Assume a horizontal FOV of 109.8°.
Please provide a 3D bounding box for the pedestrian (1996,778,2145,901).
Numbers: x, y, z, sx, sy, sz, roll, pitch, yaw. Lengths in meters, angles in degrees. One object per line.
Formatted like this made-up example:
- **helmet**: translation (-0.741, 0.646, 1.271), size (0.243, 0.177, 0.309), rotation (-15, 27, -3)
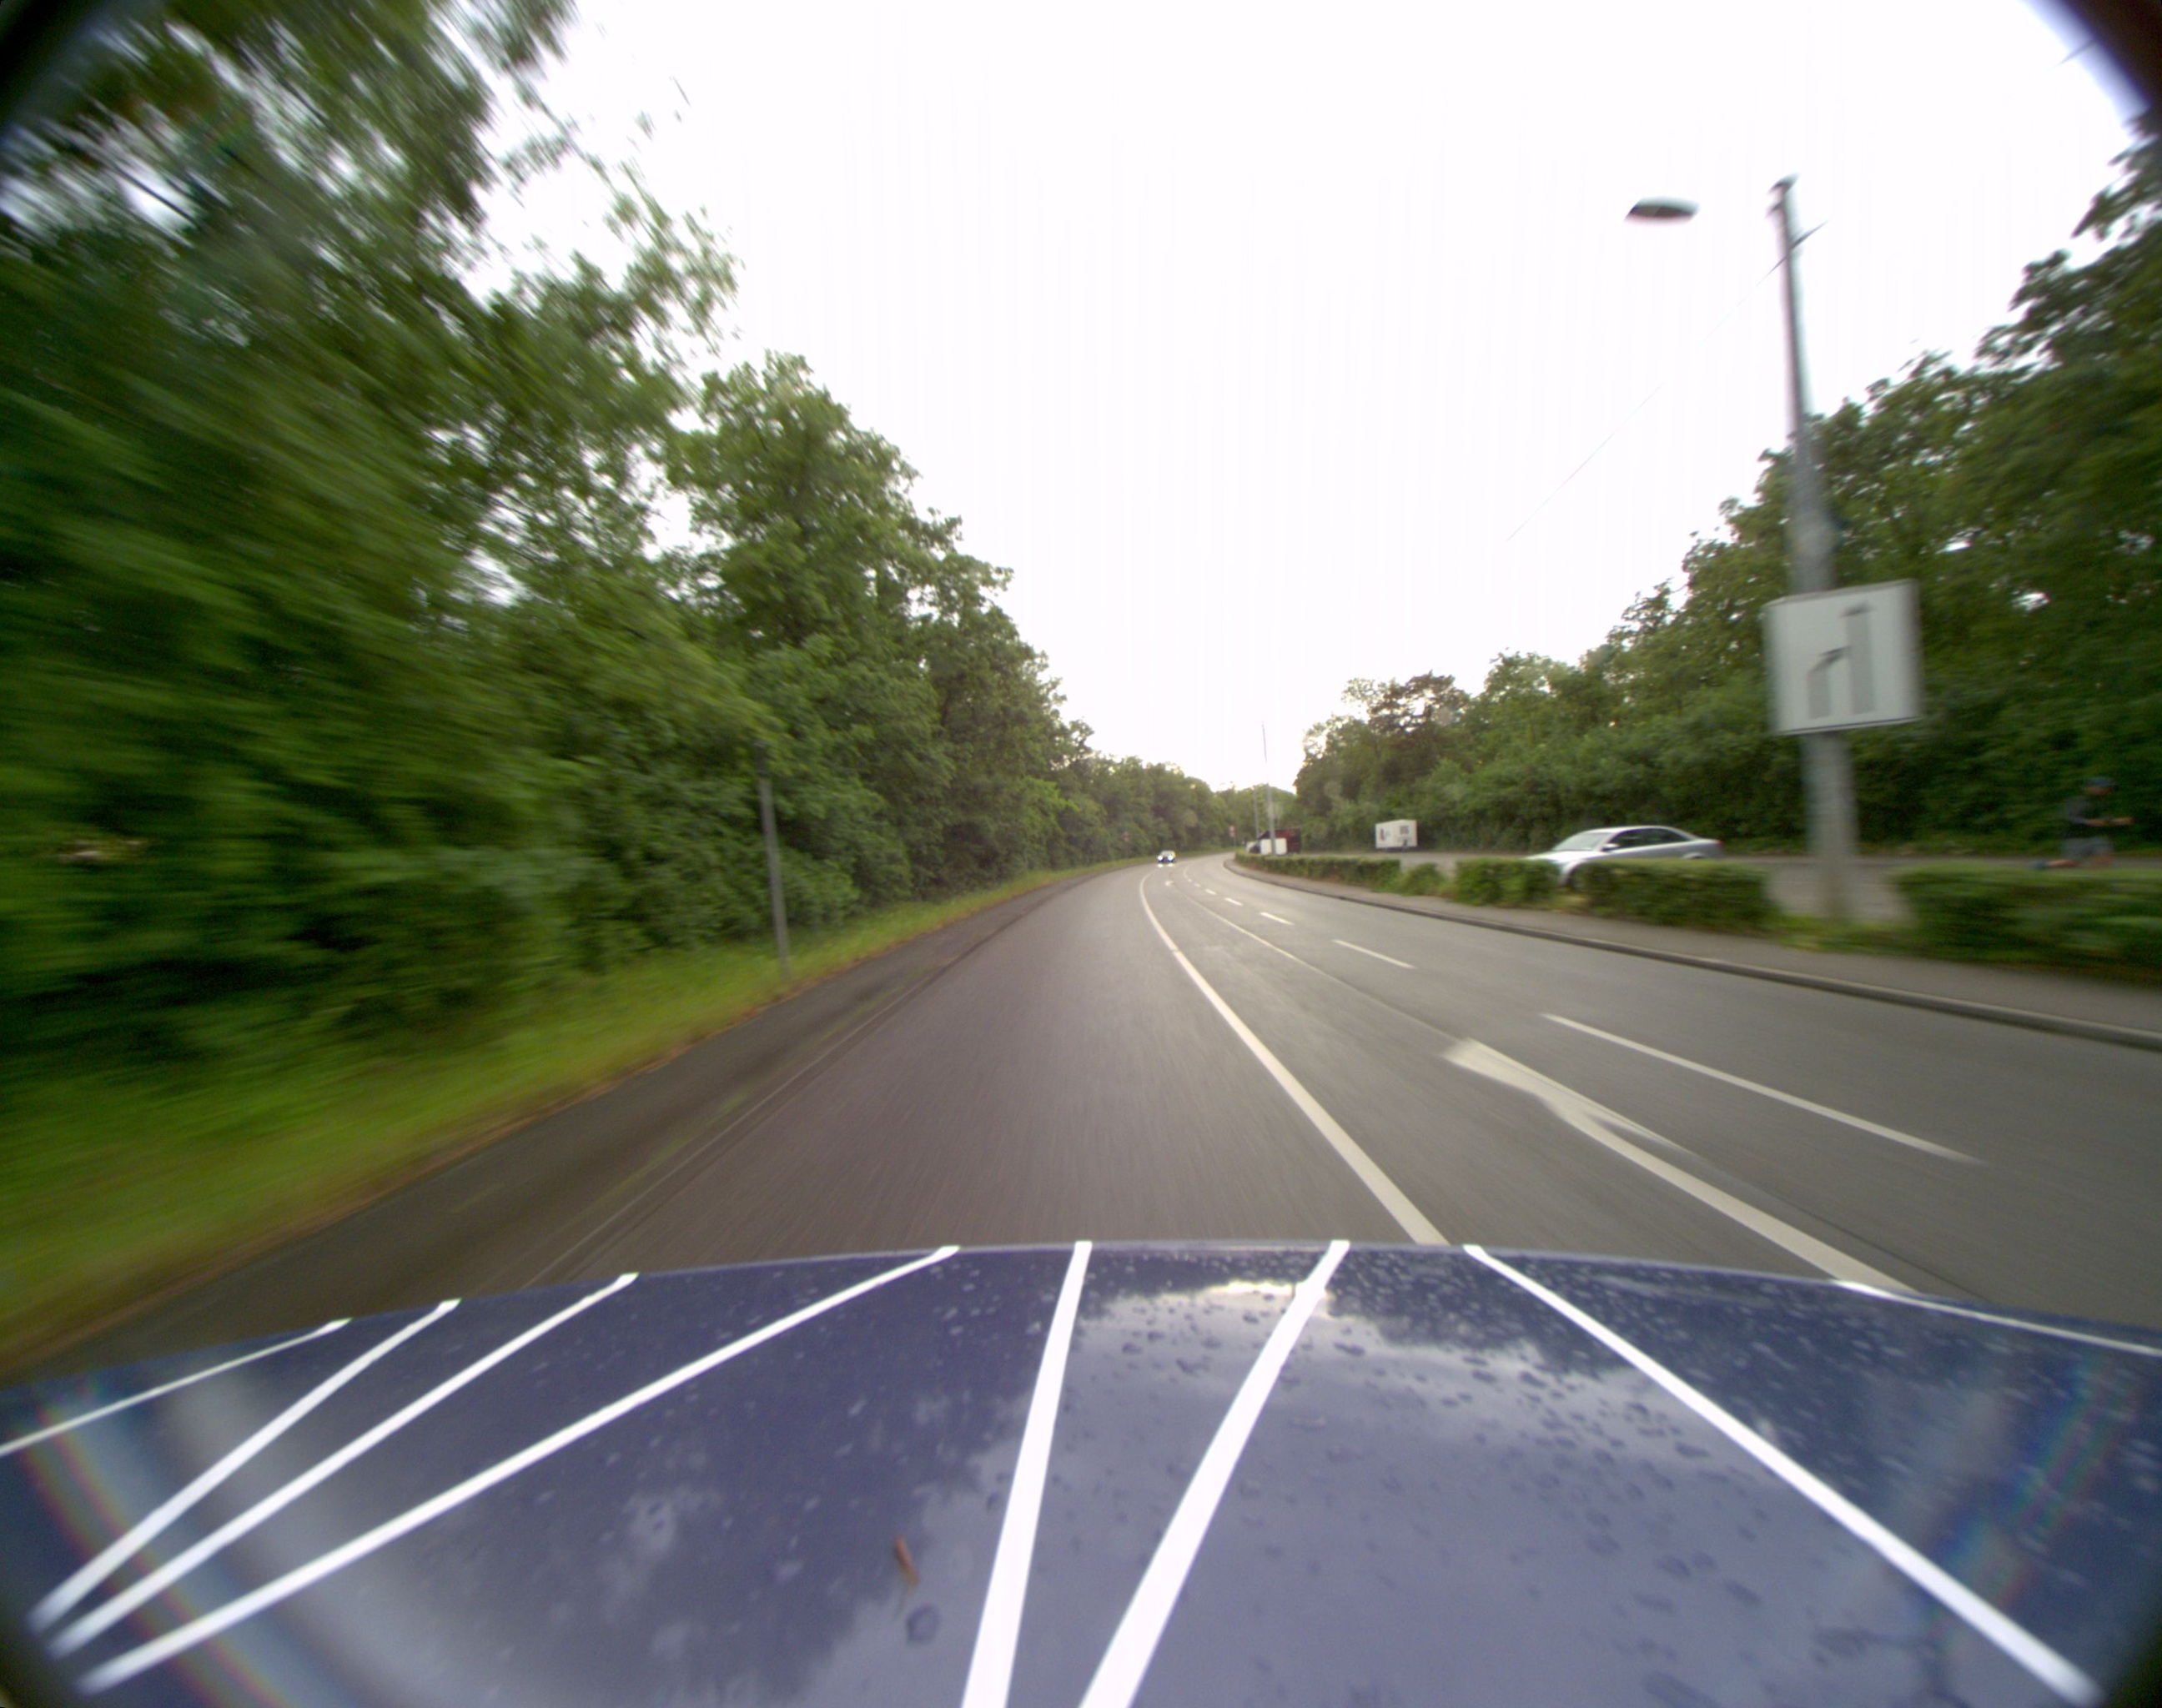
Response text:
- **pedestrian**: translation (15.369, -0.215, 11.847), size (0.819, 1.787, 1.136), rotation (-3, 1, 5)

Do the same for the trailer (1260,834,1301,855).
- **trailer**: translation (20.668, -0.969, 78.881), size (3.993, 2.041, 1.874), rotation (-2, 1, 12)

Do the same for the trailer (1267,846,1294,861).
- **trailer**: translation (15.457, -0.048, 58.846), size (1.805, 1.028, 1.334), rotation (-3, 1, 5)

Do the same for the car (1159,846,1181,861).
- **car**: translation (10.383, -0.078, 88.625), size (1.996, 1.674, 4.003), rotation (-2, 1, 14)

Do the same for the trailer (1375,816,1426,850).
- **trailer**: translation (29.909, -1.954, 71.513), size (2.480, 2.857, 7.981), rotation (-2, 1, 9)

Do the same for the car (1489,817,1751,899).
- **car**: translation (12.178, 0.069, 17.367), size (4.588, 1.497, 1.999), rotation (-3, 1, -3)

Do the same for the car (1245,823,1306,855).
- **car**: translation (21.499, -1.665, 84.248), size (6.284, 3.096, 2.753), rotation (-3, 2, 9)
